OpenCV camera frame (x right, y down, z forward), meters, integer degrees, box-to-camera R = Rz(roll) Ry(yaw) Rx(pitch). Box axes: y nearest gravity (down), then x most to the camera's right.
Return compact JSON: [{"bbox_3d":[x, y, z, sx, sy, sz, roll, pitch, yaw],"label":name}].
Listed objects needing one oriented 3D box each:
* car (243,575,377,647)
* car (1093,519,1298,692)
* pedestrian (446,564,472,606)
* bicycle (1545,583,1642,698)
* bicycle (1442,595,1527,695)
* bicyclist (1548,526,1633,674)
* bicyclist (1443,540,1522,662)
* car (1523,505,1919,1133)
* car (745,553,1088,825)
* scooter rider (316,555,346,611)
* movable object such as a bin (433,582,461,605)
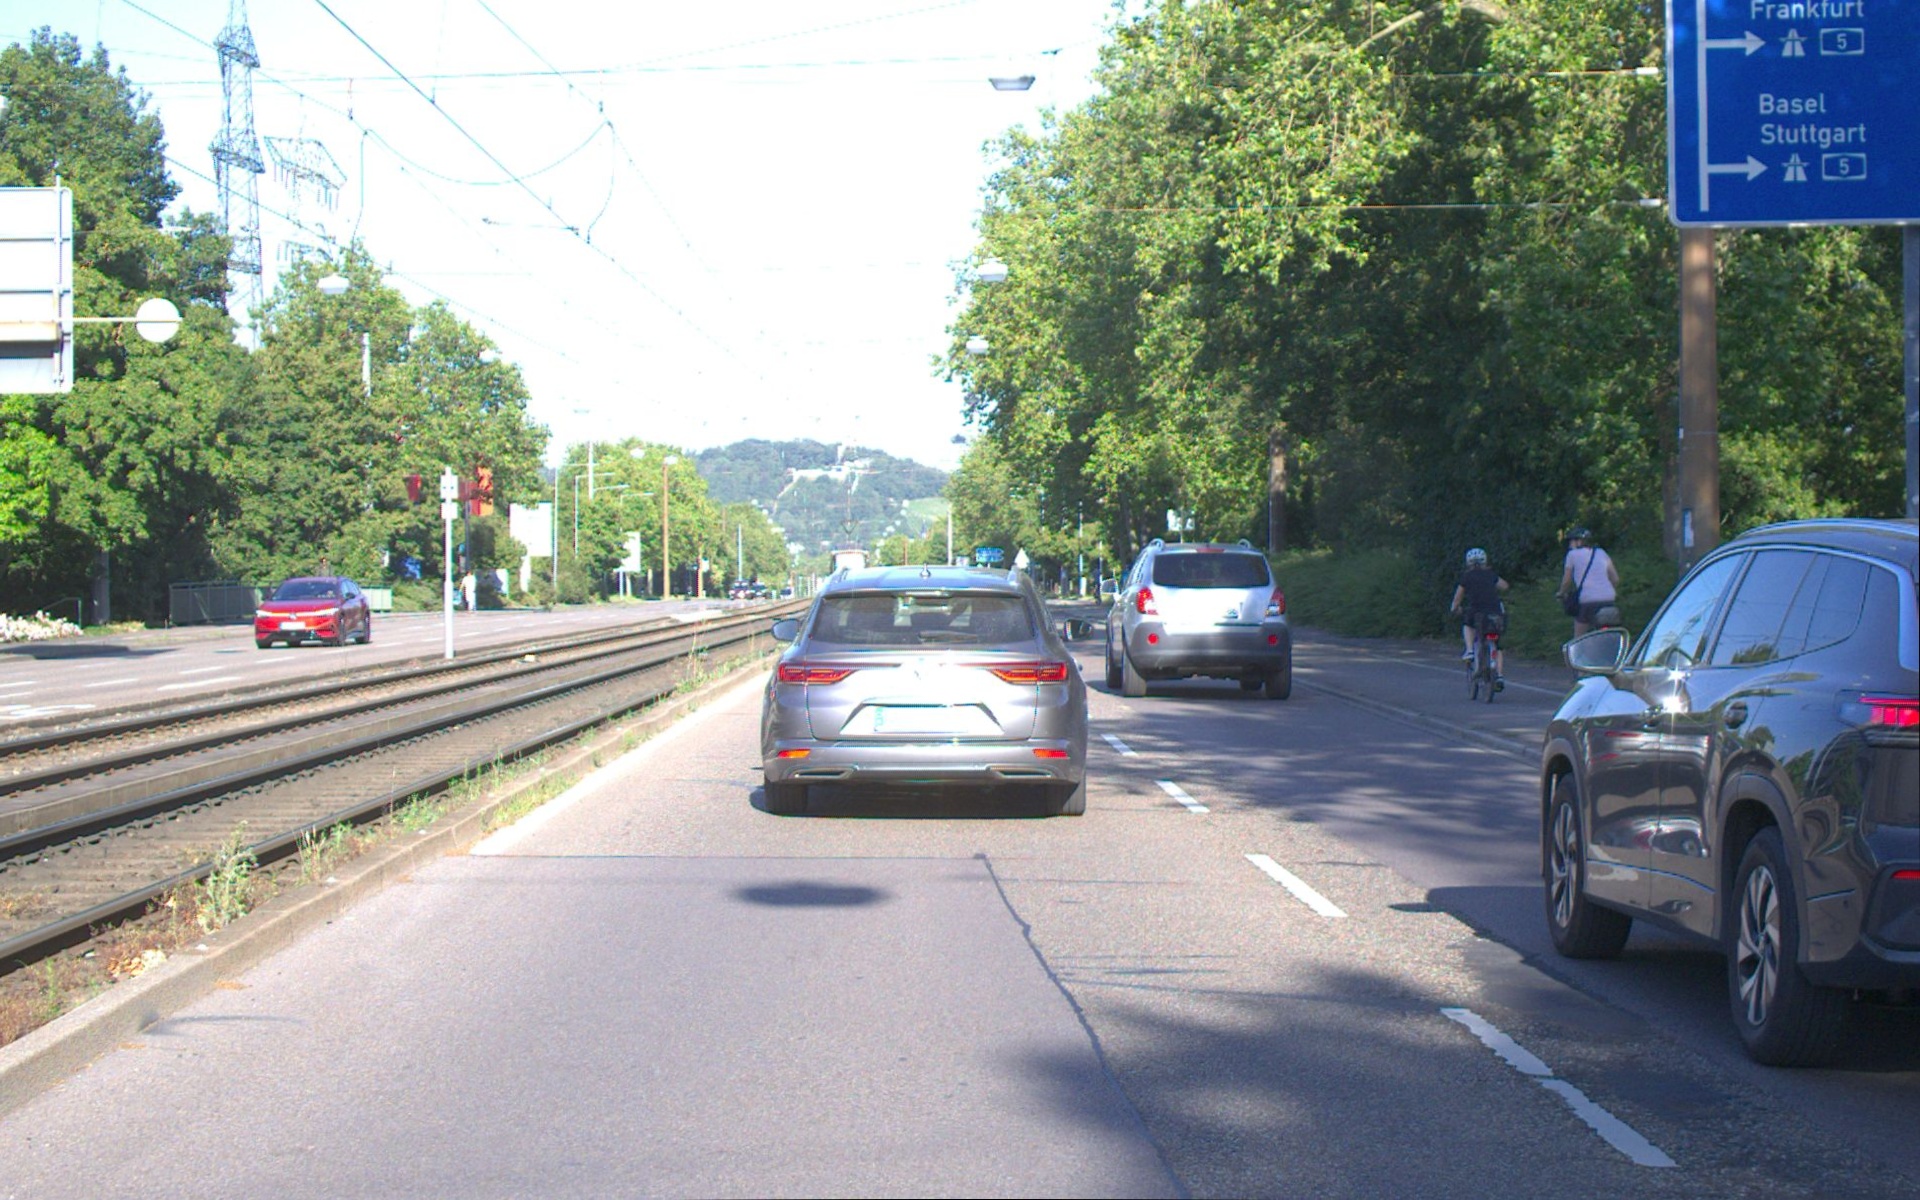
[{"bbox_3d":[-14.354,0.216,76.184,2.039,1.498,4.888,0,1,0],"label":"car"},{"bbox_3d":[2.593,0.021,38.782,1.883,1.789,4.000,2,1,-1],"label":"car"},{"bbox_3d":[-21.697,-0.649,148.779,0.725,1.750,0.834,2,-1,21],"label":"pedestrian"},{"bbox_3d":[6.517,0.402,35.415,0.622,1.116,1.813,-1,1,-1],"label":"bicycle"},{"bbox_3d":[5.393,0.449,35.414,0.565,0.971,1.788,-1,1,-1],"label":"bicycle"},{"bbox_3d":[6.488,-0.008,35.401,0.685,1.503,0.891,0,1,-1],"label":"bicyclist"},{"bbox_3d":[5.372,0.002,35.377,0.641,1.222,0.891,-2,1,-1],"label":"bicyclist"},{"bbox_3d":[3.204,0.561,11.310,1.844,1.655,4.440,1,1,-1],"label":"car"},{"bbox_3d":[-0.244,0.453,21.072,1.866,1.462,4.666,0,1,0],"label":"car"},{"bbox_3d":[-20.837,-0.573,113.839,0.682,1.842,1.000,-1,0,7],"label":"scooter rider"},{"bbox_3d":[-22.056,-0.276,147.879,0.725,0.958,1.100,2,-1,21],"label":"movable object such as a bin"}]
